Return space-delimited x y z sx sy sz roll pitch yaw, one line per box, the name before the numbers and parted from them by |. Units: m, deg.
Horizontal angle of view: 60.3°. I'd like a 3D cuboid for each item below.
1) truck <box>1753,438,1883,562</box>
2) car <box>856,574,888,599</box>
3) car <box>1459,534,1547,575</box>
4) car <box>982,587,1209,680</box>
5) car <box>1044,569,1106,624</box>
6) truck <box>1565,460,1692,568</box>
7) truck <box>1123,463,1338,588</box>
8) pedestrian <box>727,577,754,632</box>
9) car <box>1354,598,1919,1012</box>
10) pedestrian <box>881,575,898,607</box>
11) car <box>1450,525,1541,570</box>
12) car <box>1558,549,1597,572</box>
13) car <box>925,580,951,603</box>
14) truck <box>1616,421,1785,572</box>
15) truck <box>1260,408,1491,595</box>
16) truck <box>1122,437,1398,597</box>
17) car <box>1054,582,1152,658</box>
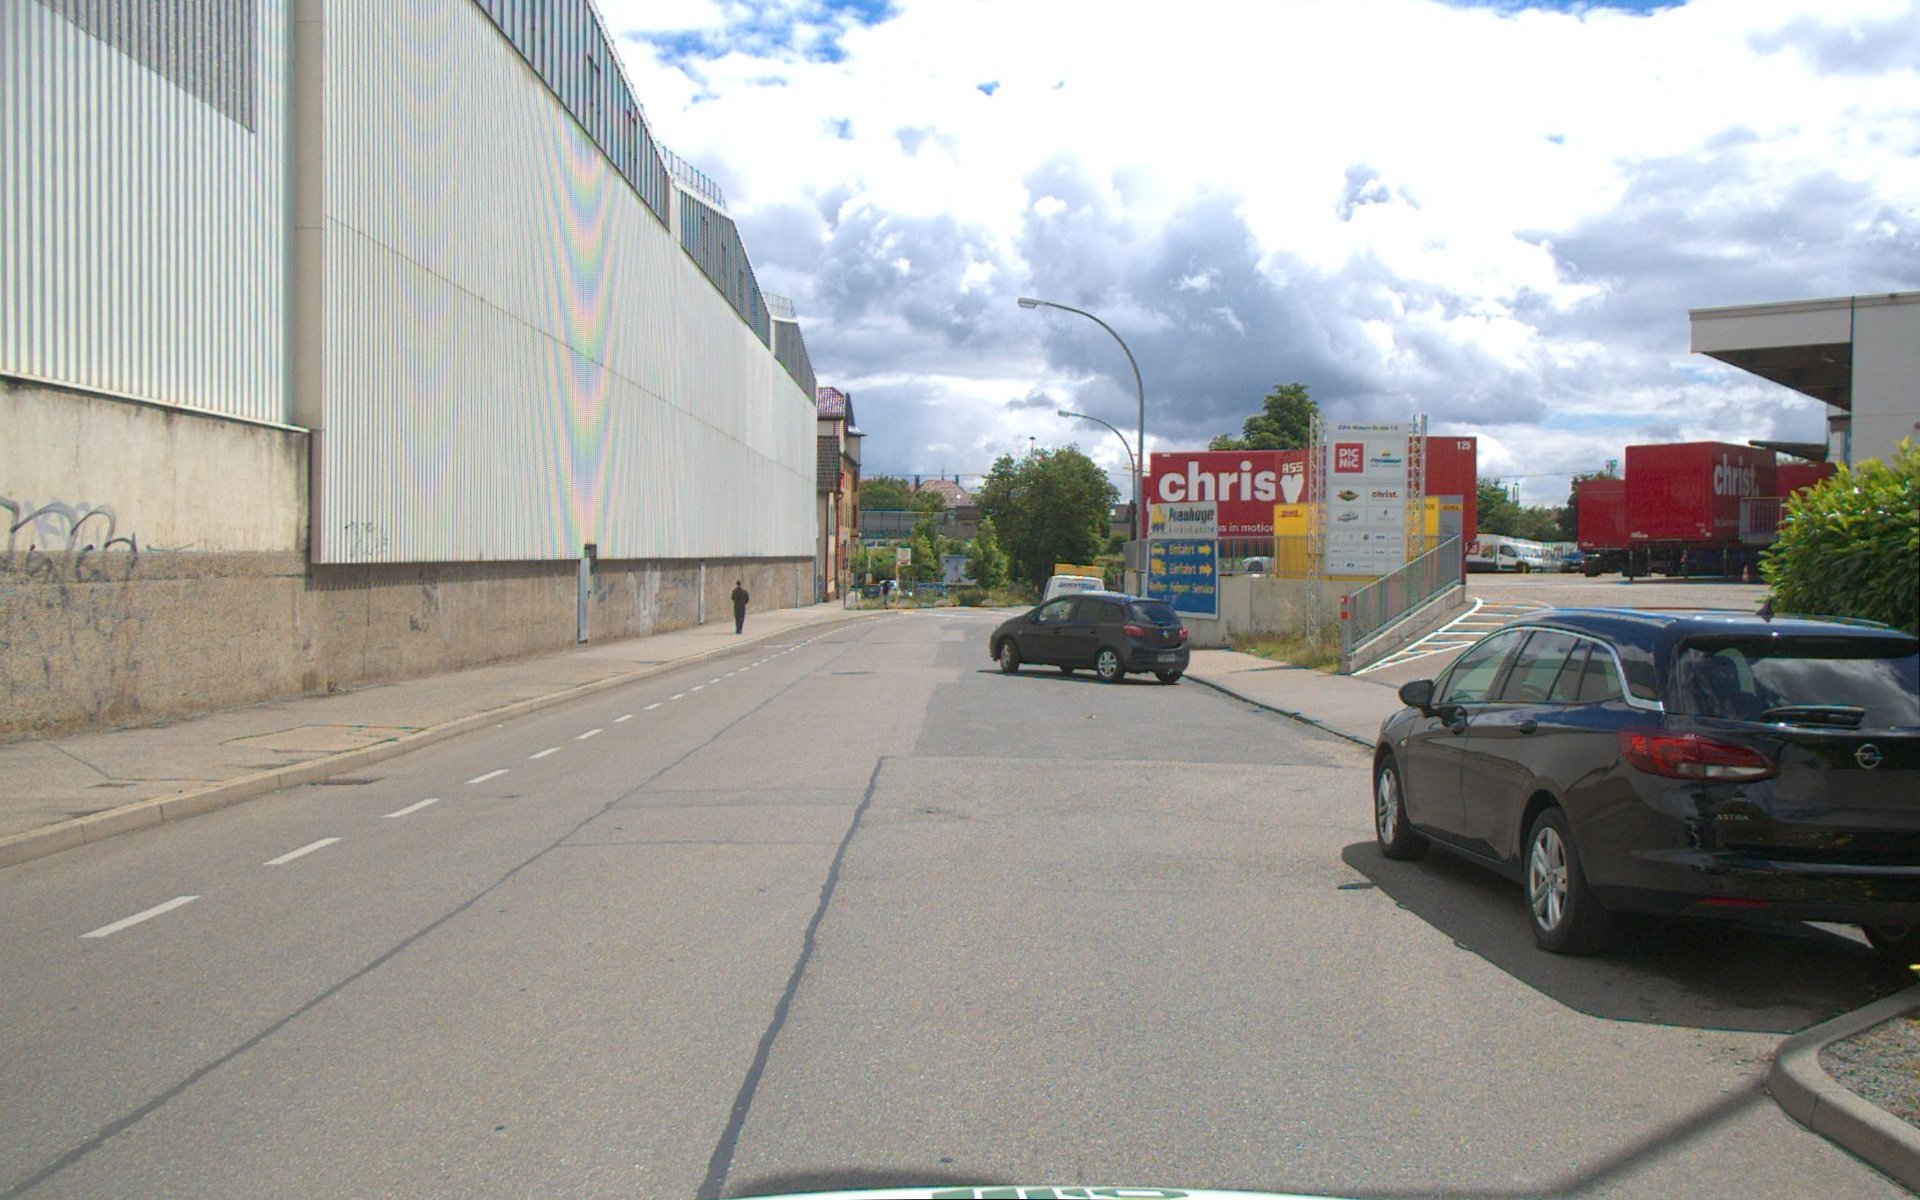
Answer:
truck | 33.654 -3.751 64.677 2.943 4.130 8.436 -1 -2 39
car | -5.584 -0.845 105.292 1.815 1.512 3.999 0 -1 -1
car | 36.126 -3.010 110.058 5.523 2.586 2.000 0 -1 21
car | 2.316 0.529 28.854 3.730 1.472 1.695 1 1 44
car | 3.388 -0.121 49.344 1.666 1.554 3.739 1 1 1
truck | 29.553 -3.659 72.898 2.943 4.130 8.436 -1 -2 39
truck | 10.716 -2.901 65.686 8.269 4.753 2.584 0 -1 10
pedestrian | -6.772 0.150 51.057 0.698 1.666 0.777 0 -1 1
car | 3.401 0.762 8.385 1.679 1.499 4.511 0 0 -1
pedestrian | -3.801 -0.483 88.961 0.835 1.692 0.860 0 -1 4
car | 34.737 -3.370 107.352 5.523 2.724 2.000 0 -1 21
car | 40.555 -2.585 108.638 1.663 1.480 4.304 0 1 30
car | -1.568 -0.578 116.901 1.815 1.512 3.999 0 -1 -1
truck | 23.953 -3.143 53.245 2.943 4.130 8.436 -1 -2 39
truck | 11.276 -2.506 45.808 2.534 4.527 7.823 1 -1 -17
truck | 9.496 -2.501 52.455 8.275 4.753 2.582 0 -1 21
car | 3.276 0.424 38.513 1.668 1.554 3.735 3 1 -4
